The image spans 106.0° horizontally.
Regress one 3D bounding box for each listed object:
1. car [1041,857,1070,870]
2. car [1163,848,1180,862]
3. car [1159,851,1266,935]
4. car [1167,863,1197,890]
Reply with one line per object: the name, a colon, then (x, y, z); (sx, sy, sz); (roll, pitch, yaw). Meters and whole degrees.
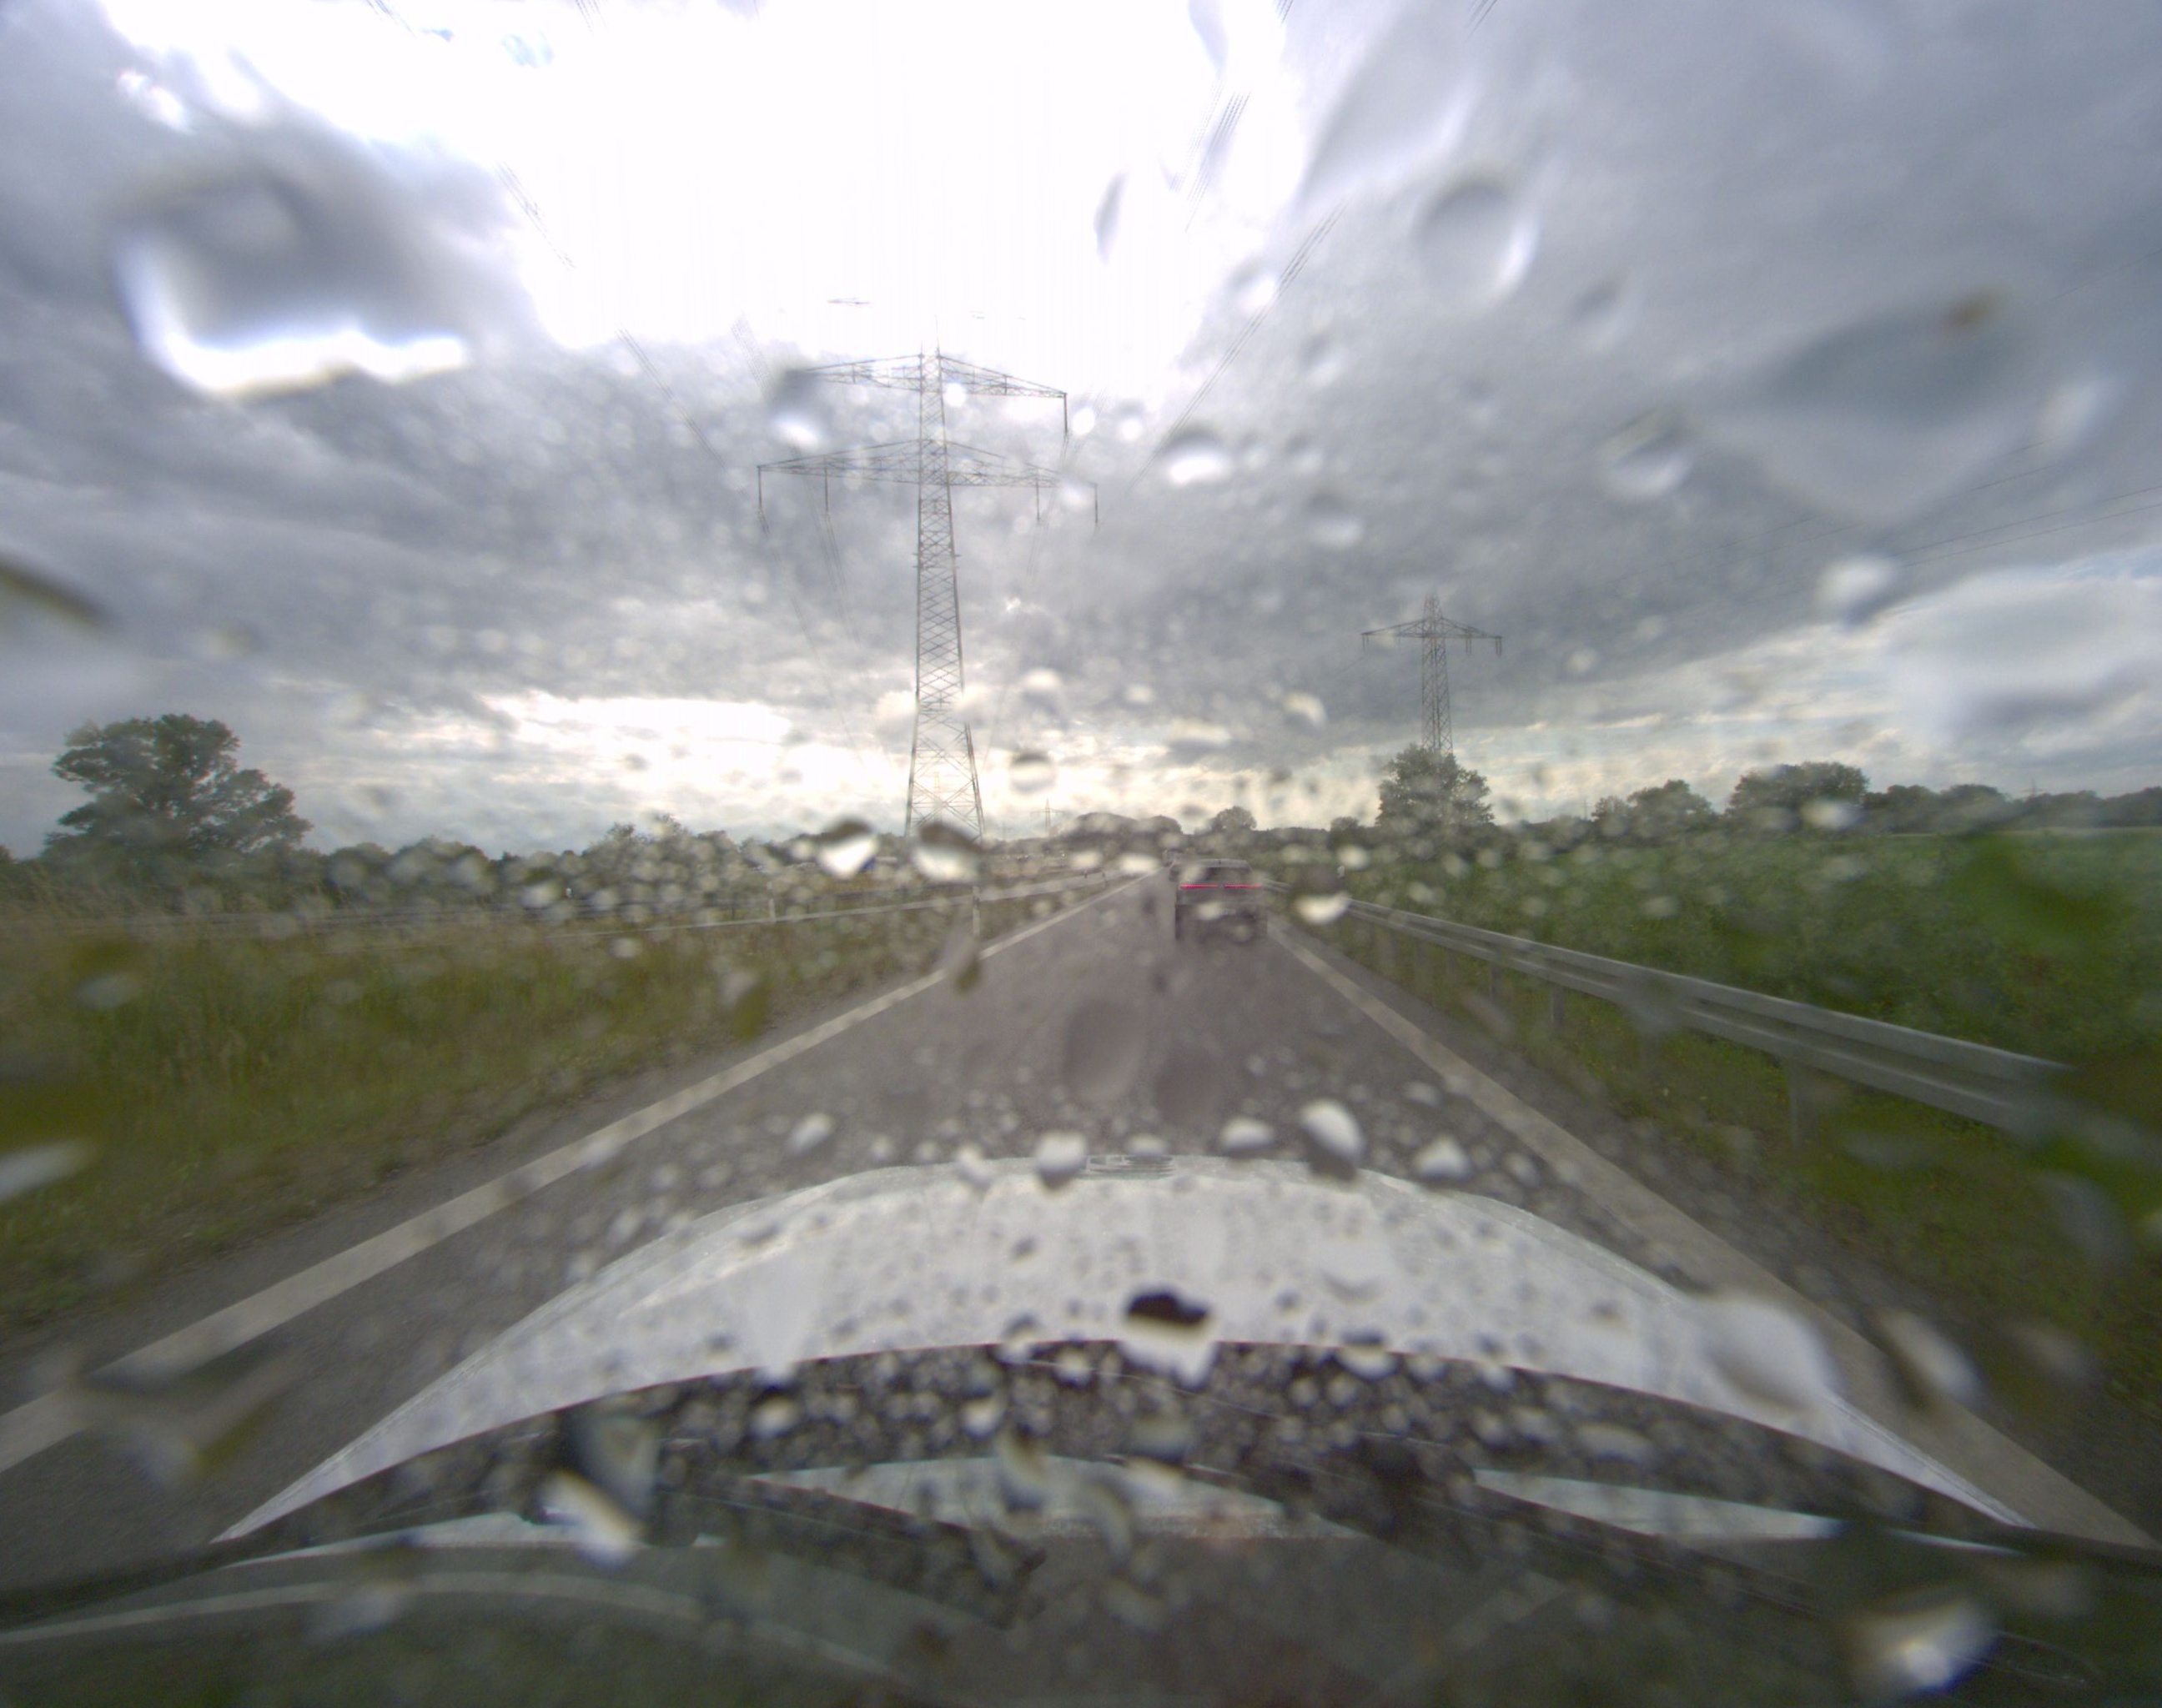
car: (-7.625, 2.896, 241.237); (3.414, 3.610, 8.933); (-1, -1, -44)
car: (20.112, 0.211, 181.965); (3.124, 2.951, 7.213); (-2, 2, 2)
car: (2.820, 0.729, 17.411); (1.981, 1.566, 4.160); (0, 0, 9)
car: (8.246, 1.801, 67.059); (2.111, 2.018, 5.541); (-2, 0, 4)
